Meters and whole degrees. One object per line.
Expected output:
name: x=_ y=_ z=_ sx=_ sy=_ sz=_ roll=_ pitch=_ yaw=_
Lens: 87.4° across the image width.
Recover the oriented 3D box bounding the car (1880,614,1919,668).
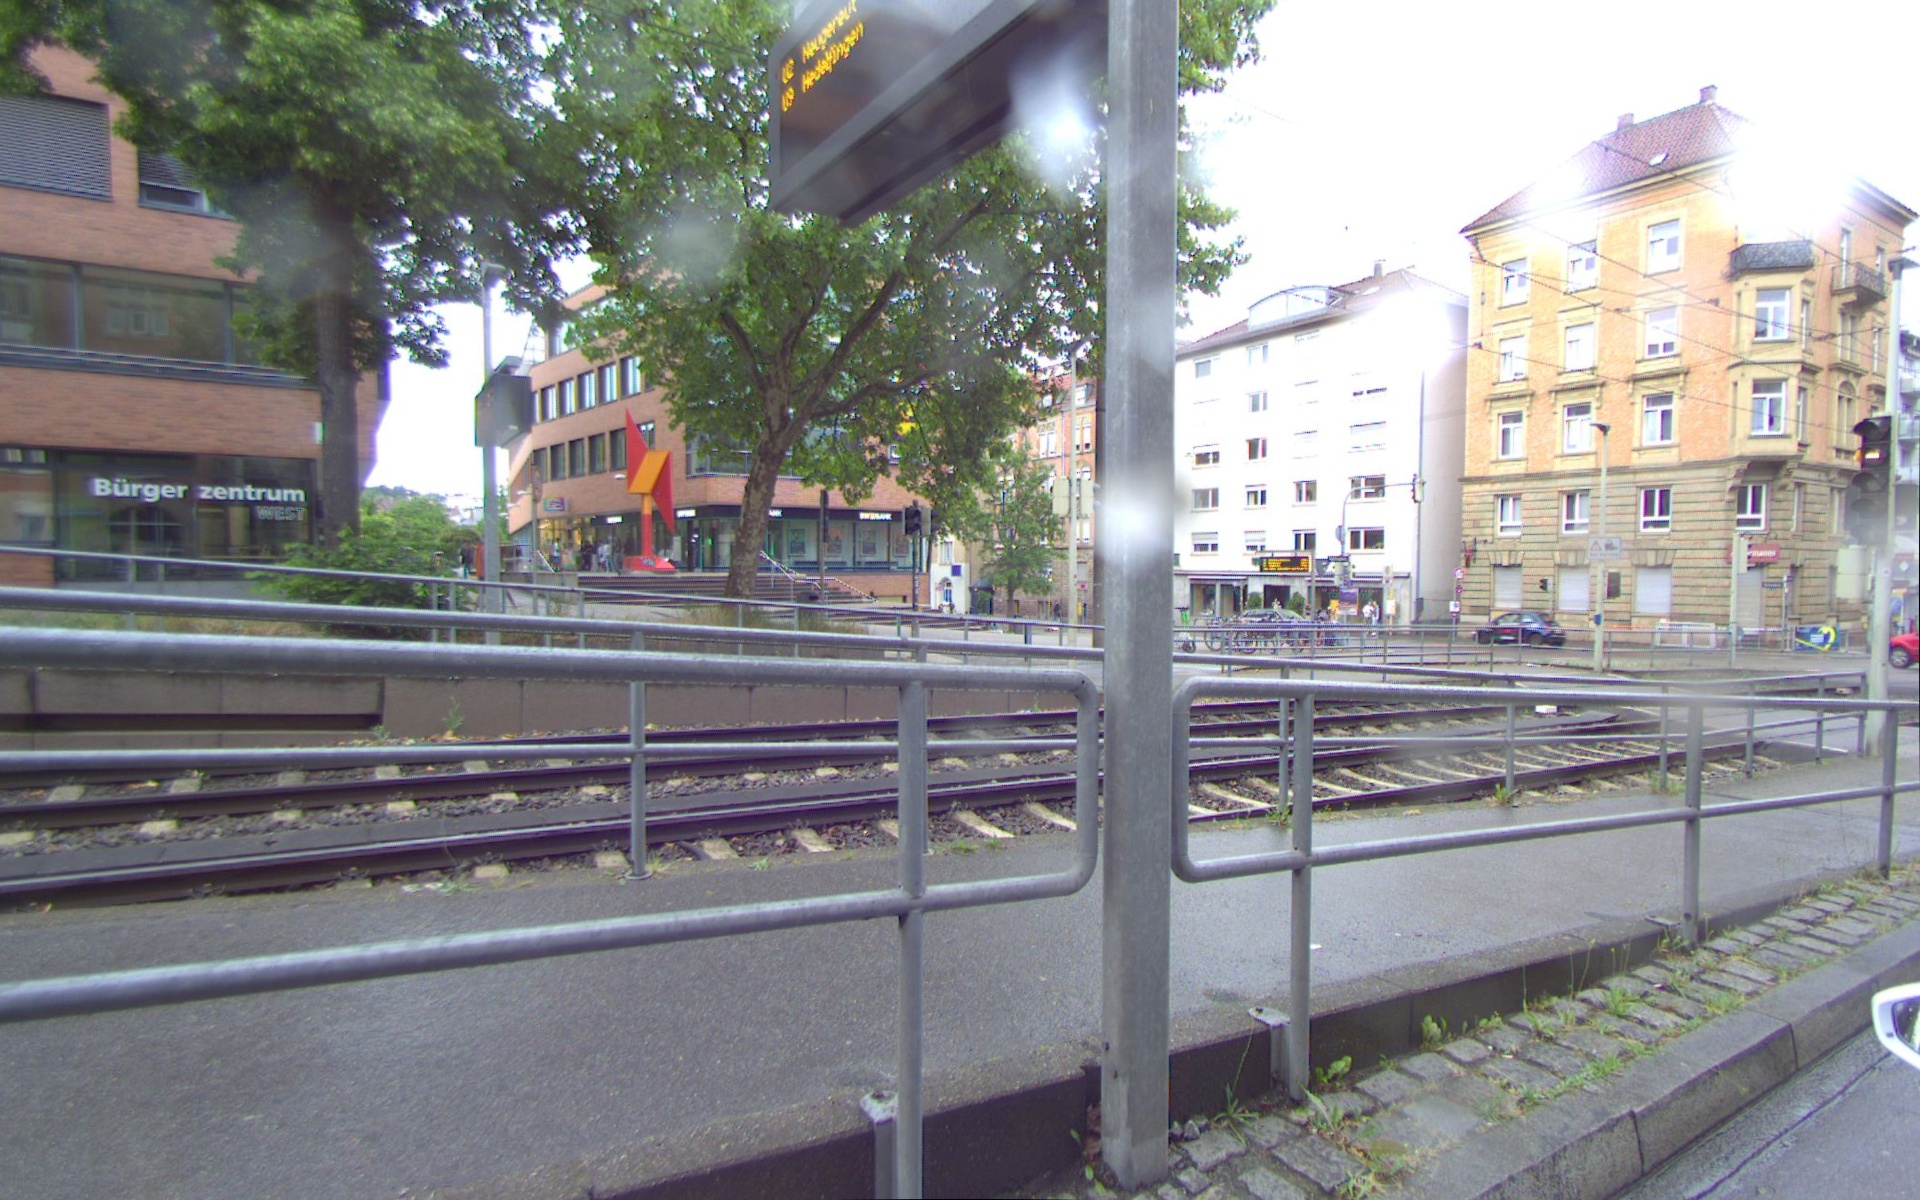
car: x=27.952 y=1.177 z=27.778 sx=1.652 sy=1.509 sz=3.612 roll=1 pitch=0 yaw=-1

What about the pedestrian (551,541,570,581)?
pedestrian: x=-20.998 y=-2.029 z=52.775 sx=0.711 sy=2.040 sz=0.713 roll=1 pitch=0 yaw=-38

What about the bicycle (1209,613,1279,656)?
bicycle: x=7.858 y=0.942 z=27.839 sx=0.514 sy=1.076 sz=1.852 roll=1 pitch=1 yaw=-44

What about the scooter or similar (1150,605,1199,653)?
scooter or similar: x=5.669 y=0.759 z=26.559 sx=1.226 sy=1.211 sz=0.299 roll=2 pitch=1 yaw=6

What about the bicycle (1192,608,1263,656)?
bicycle: x=7.184 y=0.839 z=27.050 sx=0.514 sy=1.211 sz=1.852 roll=1 pitch=1 yaw=-43

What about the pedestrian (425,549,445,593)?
pedestrian: x=-24.637 y=-1.344 z=47.119 sx=0.711 sy=2.040 sz=0.713 roll=1 pitch=0 yaw=-38

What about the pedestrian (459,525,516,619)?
pedestrian: x=-10.590 y=-0.611 z=22.495 sx=0.973 sy=2.041 sz=0.726 roll=1 pitch=1 yaw=-41

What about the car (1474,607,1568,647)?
car: x=23.492 y=1.119 z=42.158 sx=1.409 sy=1.509 sz=3.134 roll=0 pitch=1 yaw=-32

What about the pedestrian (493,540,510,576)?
pedestrian: x=-26.186 y=-2.391 z=57.391 sx=0.711 sy=2.040 sz=0.713 roll=1 pitch=0 yaw=-38

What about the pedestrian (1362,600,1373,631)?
pedestrian: x=22.081 y=0.851 z=54.427 sx=0.507 sy=1.643 sz=0.486 roll=2 pitch=1 yaw=18

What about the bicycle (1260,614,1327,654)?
bicycle: x=9.866 y=0.999 z=29.769 sx=0.514 sy=1.079 sz=1.852 roll=1 pitch=1 yaw=-43

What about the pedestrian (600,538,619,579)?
pedestrian: x=-17.569 y=-2.067 z=50.311 sx=0.711 sy=2.040 sz=0.713 roll=1 pitch=0 yaw=-38

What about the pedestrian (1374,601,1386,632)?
pedestrian: x=22.610 y=0.859 z=54.055 sx=0.507 sy=1.643 sz=0.486 roll=2 pitch=1 yaw=18

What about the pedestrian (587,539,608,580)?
pedestrian: x=-18.494 y=-2.073 z=51.259 sx=0.707 sy=2.040 sz=0.716 roll=1 pitch=0 yaw=45

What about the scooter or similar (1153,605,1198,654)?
scooter or similar: x=5.577 y=0.753 z=26.007 sx=1.090 sy=1.211 sz=0.362 roll=2 pitch=1 yaw=6

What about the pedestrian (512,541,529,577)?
pedestrian: x=-25.335 y=-2.338 z=57.861 sx=0.710 sy=2.041 sz=0.713 roll=1 pitch=1 yaw=-37

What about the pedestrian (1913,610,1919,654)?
pedestrian: x=36.631 y=1.215 z=37.948 sx=0.667 sy=1.683 sz=0.676 roll=1 pitch=0 yaw=-26

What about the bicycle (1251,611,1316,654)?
bicycle: x=9.382 y=0.925 z=29.169 sx=0.514 sy=1.158 sz=1.750 roll=1 pitch=1 yaw=-43
